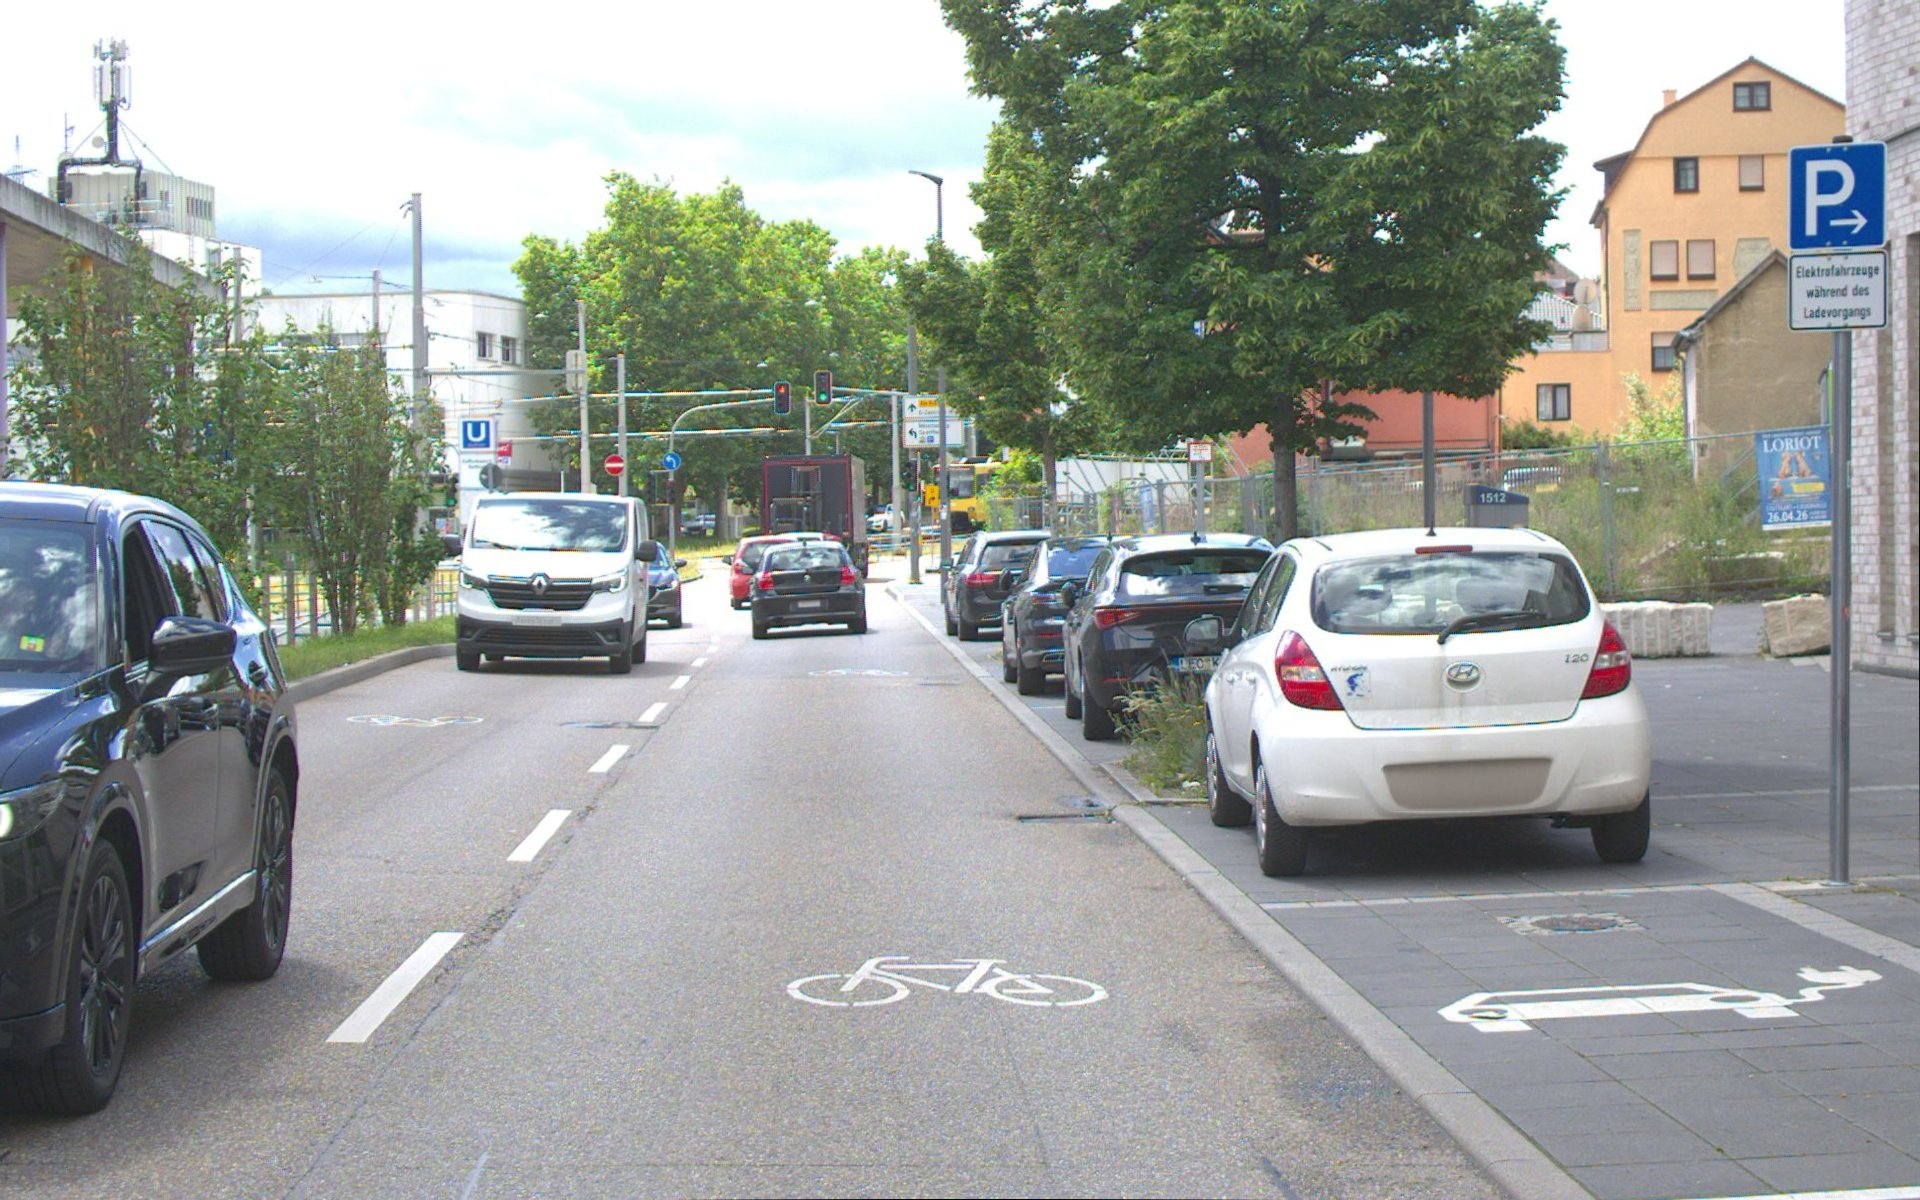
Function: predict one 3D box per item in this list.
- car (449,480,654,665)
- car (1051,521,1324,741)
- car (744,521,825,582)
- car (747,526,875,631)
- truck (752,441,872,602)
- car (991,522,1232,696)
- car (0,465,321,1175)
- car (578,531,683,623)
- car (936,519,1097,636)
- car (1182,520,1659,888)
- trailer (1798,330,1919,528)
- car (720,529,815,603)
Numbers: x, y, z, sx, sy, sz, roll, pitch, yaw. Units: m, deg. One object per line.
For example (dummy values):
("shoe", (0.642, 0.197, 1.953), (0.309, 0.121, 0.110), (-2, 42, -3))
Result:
("car", (-4.467, -0.327, 38.214), (2.003, 1.910, 5.065), (0, 1, -4))
("car", (1.627, 0.169, 25.836), (1.692, 1.456, 4.147), (-2, 1, 0))
("car", (-4.454, -1.234, 87.636), (1.888, 1.460, 4.069), (-2, 1, -1))
("car", (-2.297, -0.358, 52.149), (1.726, 1.451, 3.809), (-2, 2, -5))
("truck", (-4.296, -2.215, 101.441), (3.203, 4.520, 9.029), (0, 0, -1))
("car", (1.342, 0.028, 32.274), (1.865, 1.446, 4.644), (-2, 1, -2))
("car", (-3.109, 0.448, 9.994), (1.919, 1.599, 4.627), (0, 1, -4))
("car", (-5.818, -0.432, 60.361), (1.724, 1.516, 4.255), (1, 1, -7))
("car", (0.721, -0.340, 47.000), (1.781, 1.447, 4.477), (-2, 1, -4))
("car", (2.053, 0.395, 16.300), (1.692, 1.478, 3.798), (-2, 1, 0))
("trailer", (15.649, -2.853, 58.364), (2.405, 3.111, 6.158), (-2, 1, 11))
("car", (-3.943, -0.714, 69.934), (1.711, 1.388, 3.810), (-2, 2, -6))
